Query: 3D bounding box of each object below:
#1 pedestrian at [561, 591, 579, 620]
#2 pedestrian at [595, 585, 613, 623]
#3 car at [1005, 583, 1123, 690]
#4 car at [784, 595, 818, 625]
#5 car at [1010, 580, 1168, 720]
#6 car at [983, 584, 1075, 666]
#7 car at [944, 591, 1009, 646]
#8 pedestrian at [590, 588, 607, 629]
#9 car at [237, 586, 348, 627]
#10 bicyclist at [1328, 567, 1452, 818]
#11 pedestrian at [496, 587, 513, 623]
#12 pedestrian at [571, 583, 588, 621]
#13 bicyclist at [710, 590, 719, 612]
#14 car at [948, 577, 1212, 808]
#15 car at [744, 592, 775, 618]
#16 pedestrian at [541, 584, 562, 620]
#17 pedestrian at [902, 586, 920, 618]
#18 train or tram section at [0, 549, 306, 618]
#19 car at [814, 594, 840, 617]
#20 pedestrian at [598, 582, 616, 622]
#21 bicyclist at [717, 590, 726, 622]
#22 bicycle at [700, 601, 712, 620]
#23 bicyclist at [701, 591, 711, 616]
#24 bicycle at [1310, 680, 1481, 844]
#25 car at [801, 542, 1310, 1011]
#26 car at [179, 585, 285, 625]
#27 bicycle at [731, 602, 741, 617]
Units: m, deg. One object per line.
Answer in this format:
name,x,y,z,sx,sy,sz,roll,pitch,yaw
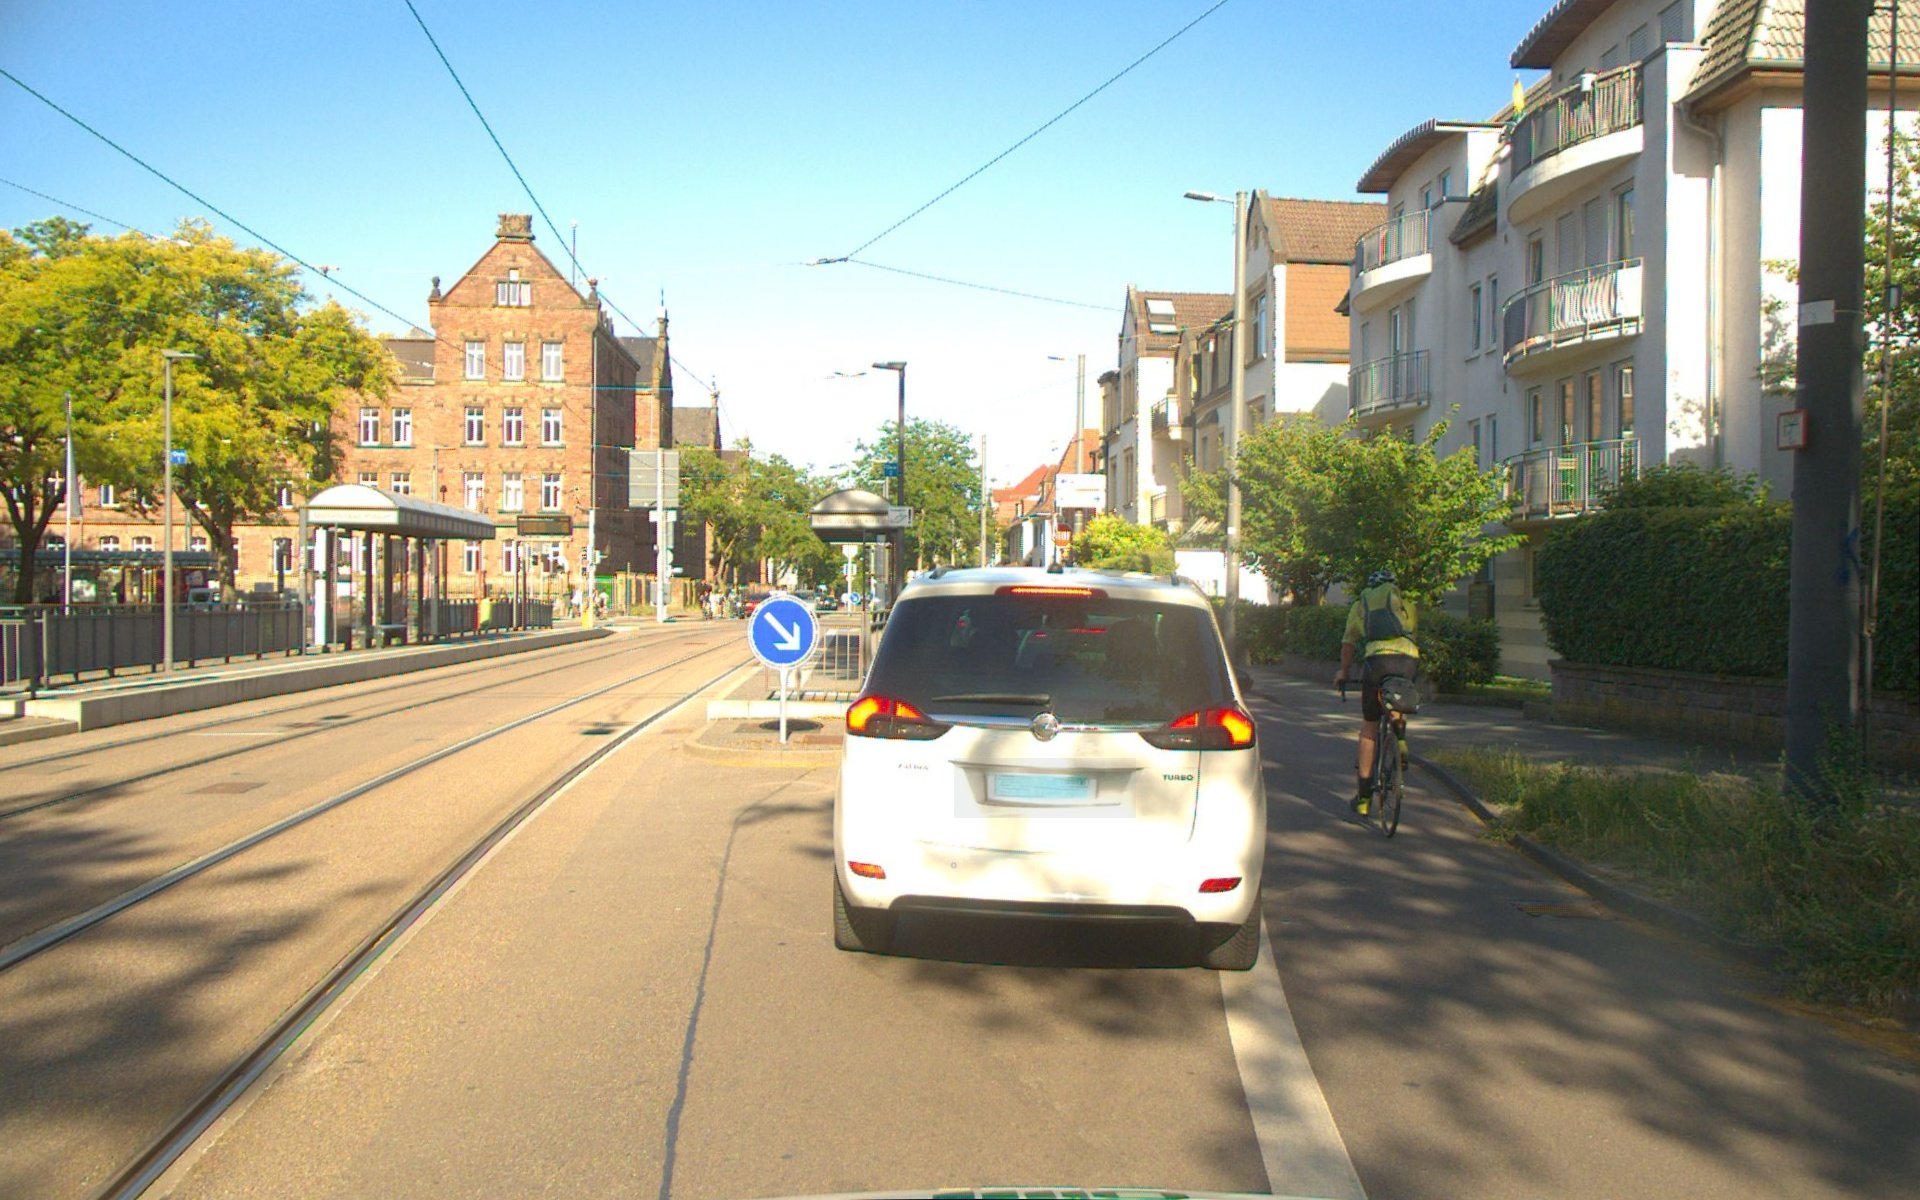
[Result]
pedestrian,-21.875,0.316,92.717,0.642,1.640,0.710,1,-1,30
pedestrian,-19.469,0.200,90.439,0.786,2.049,0.714,1,-1,-29
car,1.789,0.575,28.274,1.867,1.690,4.002,0,0,4
car,-9.472,0.587,98.858,1.711,1.746,3.999,1,0,-1
car,1.749,0.583,21.613,1.866,1.653,4.003,0,0,6
car,1.446,0.502,36.107,1.868,1.690,4.000,0,0,0
car,0.501,0.555,53.070,1.869,1.690,3.998,0,0,-2
pedestrian,-18.687,0.436,85.539,0.781,2.049,1.042,1,-1,-15
car,-28.118,0.271,69.732,3.908,1.658,1.817,1,0,-4
bicyclist,2.980,0.623,11.512,0.662,1.687,0.745,0,0,-1
pedestrian,-22.771,0.257,82.728,0.754,1.805,0.717,1,-1,-18
pedestrian,-21.053,0.115,91.545,0.679,2.049,0.614,0,-1,40
bicyclist,-16.327,0.065,109.891,0.520,1.503,0.572,1,-1,-1
car,1.069,0.645,13.762,1.866,1.625,4.003,0,0,6
car,-13.736,0.353,113.474,1.711,1.746,3.999,1,0,-1
pedestrian,-21.881,0.120,88.667,0.791,1.934,0.744,1,-1,13
pedestrian,-2.965,0.115,101.011,0.737,1.934,0.798,1,-1,-42
train or tram section,-40.751,-0.756,79.407,17.048,3.210,3.343,0,0,-6
car,-10.361,0.446,128.886,1.711,1.746,3.999,1,0,-1
pedestrian,-18.085,0.092,84.678,0.782,2.049,0.717,1,-1,-18
bicyclist,-15.374,0.375,106.731,0.488,2.049,0.572,1,-1,-1
bicycle,-15.338,0.641,99.952,0.498,1.096,1.738,1,0,-1
bicyclist,-15.335,0.227,99.803,0.520,1.503,0.572,1,-1,-1
bicycle,2.972,1.079,11.478,0.662,0.941,1.885,0,0,-1
car,0.558,0.628,8.076,1.866,1.690,4.003,0,0,6
car,-32.449,0.225,73.805,3.908,1.658,1.817,1,0,-4
bicycle,-14.942,0.652,110.243,0.477,0.988,1.405,1,0,-1
